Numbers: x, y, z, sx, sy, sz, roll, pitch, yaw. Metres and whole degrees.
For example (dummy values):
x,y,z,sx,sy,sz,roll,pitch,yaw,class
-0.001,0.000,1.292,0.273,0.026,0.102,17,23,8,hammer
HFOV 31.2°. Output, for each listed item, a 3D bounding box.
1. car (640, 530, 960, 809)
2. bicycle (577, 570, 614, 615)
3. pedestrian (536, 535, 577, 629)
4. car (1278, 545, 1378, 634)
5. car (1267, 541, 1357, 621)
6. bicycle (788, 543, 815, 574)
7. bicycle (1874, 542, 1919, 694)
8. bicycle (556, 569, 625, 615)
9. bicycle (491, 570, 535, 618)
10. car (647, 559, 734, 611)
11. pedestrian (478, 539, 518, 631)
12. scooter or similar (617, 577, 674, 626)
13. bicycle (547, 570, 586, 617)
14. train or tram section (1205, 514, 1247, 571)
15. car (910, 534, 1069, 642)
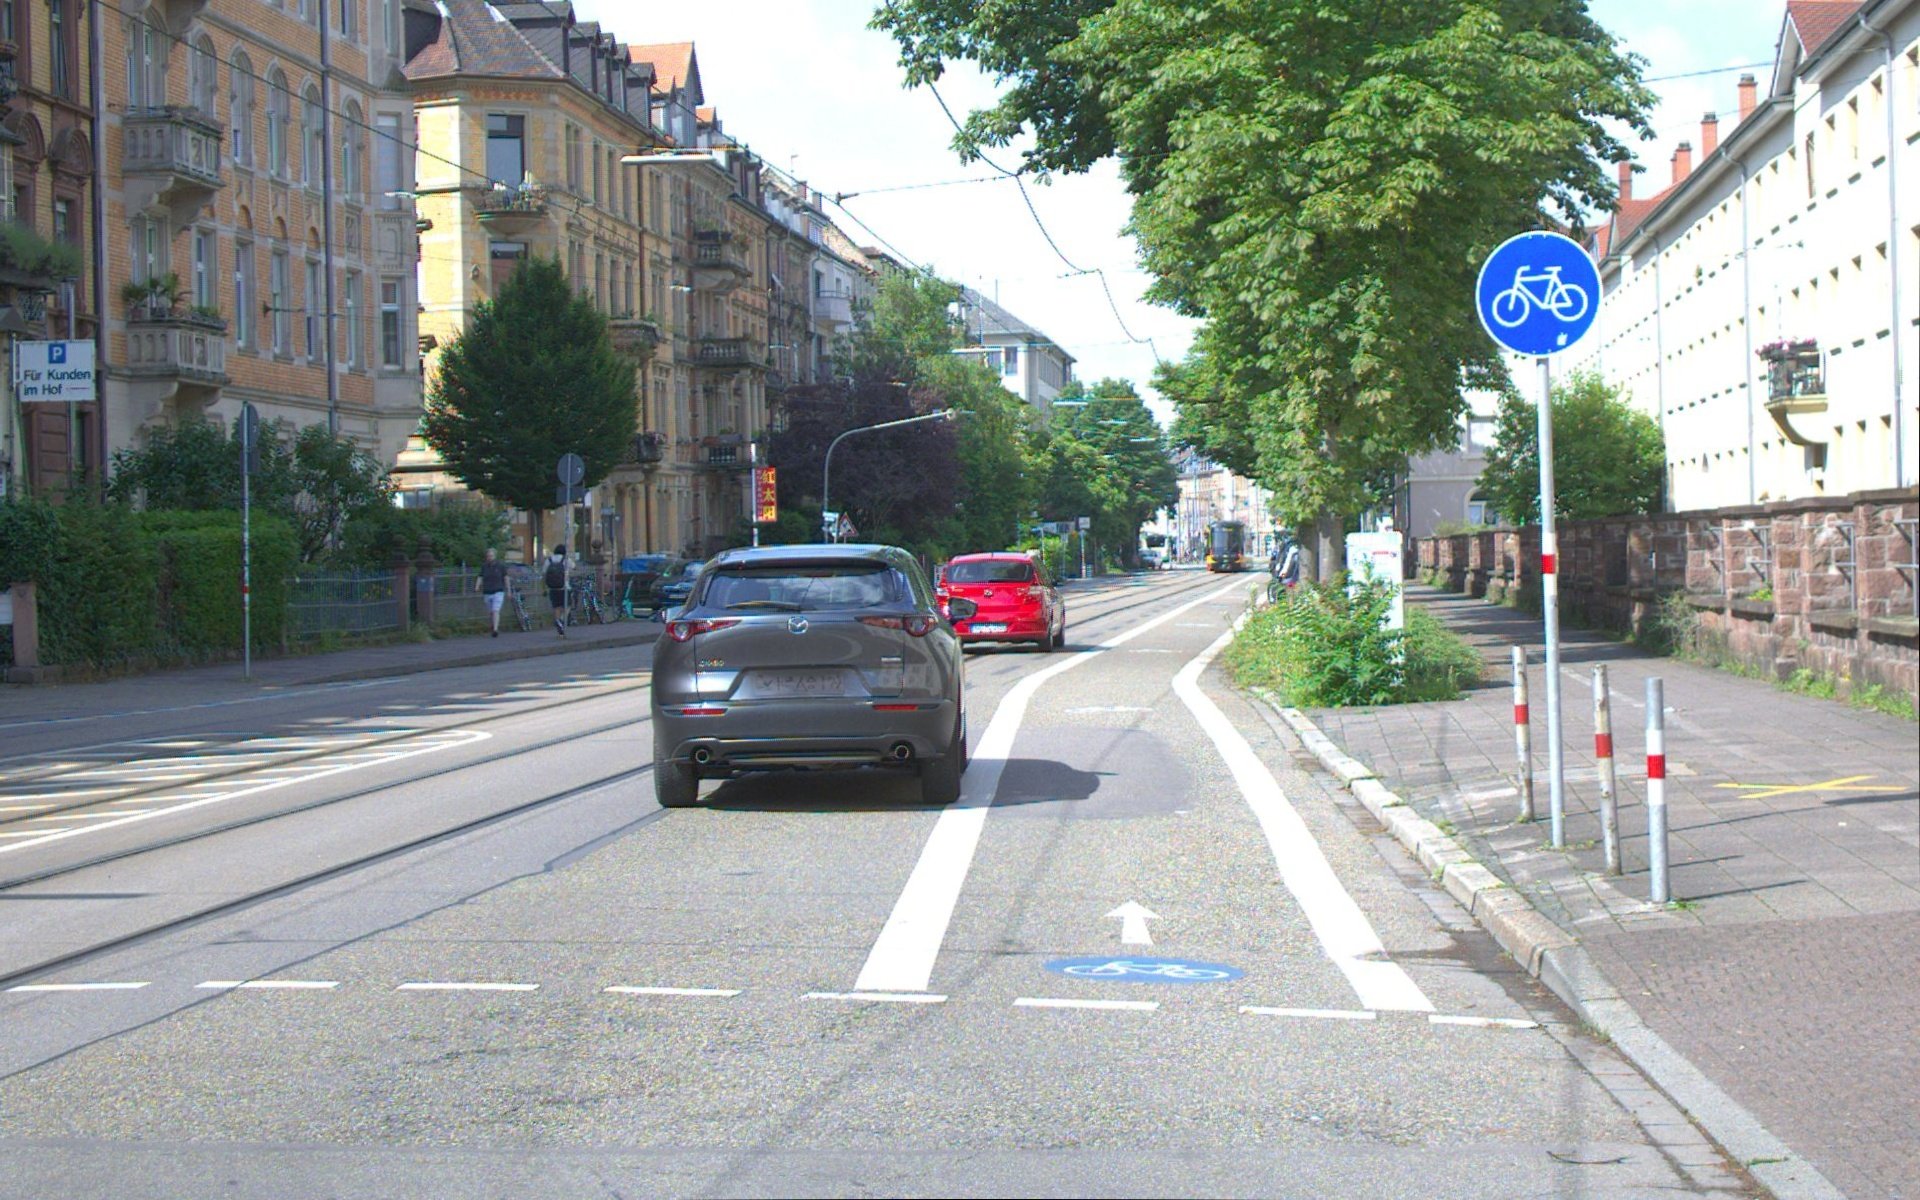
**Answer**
x,y,z,sx,sy,sz,roll,pitch,yaw,class
-0.898,0.363,21.051,1.720,1.521,3.589,-1,1,1,car
-8.022,-0.173,75.770,0.421,0.973,1.949,-1,1,5,bicycle
-7.627,-0.353,64.990,0.533,1.754,1.105,1,1,5,pedestrian
6.856,-0.215,64.314,1.742,1.575,4.248,-1,1,5,car
7.661,-0.436,75.061,1.863,1.647,4.637,-1,1,5,car
-4.946,-1.289,107.280,0.530,0.943,1.967,-2,0,6,bicycle
7.788,0.128,27.775,0.504,1.196,1.491,-1,1,5,bicycle
-8.311,-0.178,77.356,1.453,0.973,0.404,-2,1,6,bicycle
-8.860,-0.122,68.169,0.421,0.929,1.949,-1,1,5,bicycle
-7.919,-0.455,101.302,1.686,1.454,4.763,-2,0,6,car
-8.665,-0.291,64.549,0.487,1.697,1.151,-1,1,4,pedestrian
-7.873,0.035,86.094,1.361,1.230,0.404,-1,0,-22,scooter or similar
-8.379,-0.140,73.274,0.421,0.973,1.949,-1,1,5,bicycle
18.308,-3.953,236.137,2.572,3.760,13.024,-1,1,5,train or tram section
0.485,-0.194,51.266,1.994,1.523,3.999,1,1,6,car
